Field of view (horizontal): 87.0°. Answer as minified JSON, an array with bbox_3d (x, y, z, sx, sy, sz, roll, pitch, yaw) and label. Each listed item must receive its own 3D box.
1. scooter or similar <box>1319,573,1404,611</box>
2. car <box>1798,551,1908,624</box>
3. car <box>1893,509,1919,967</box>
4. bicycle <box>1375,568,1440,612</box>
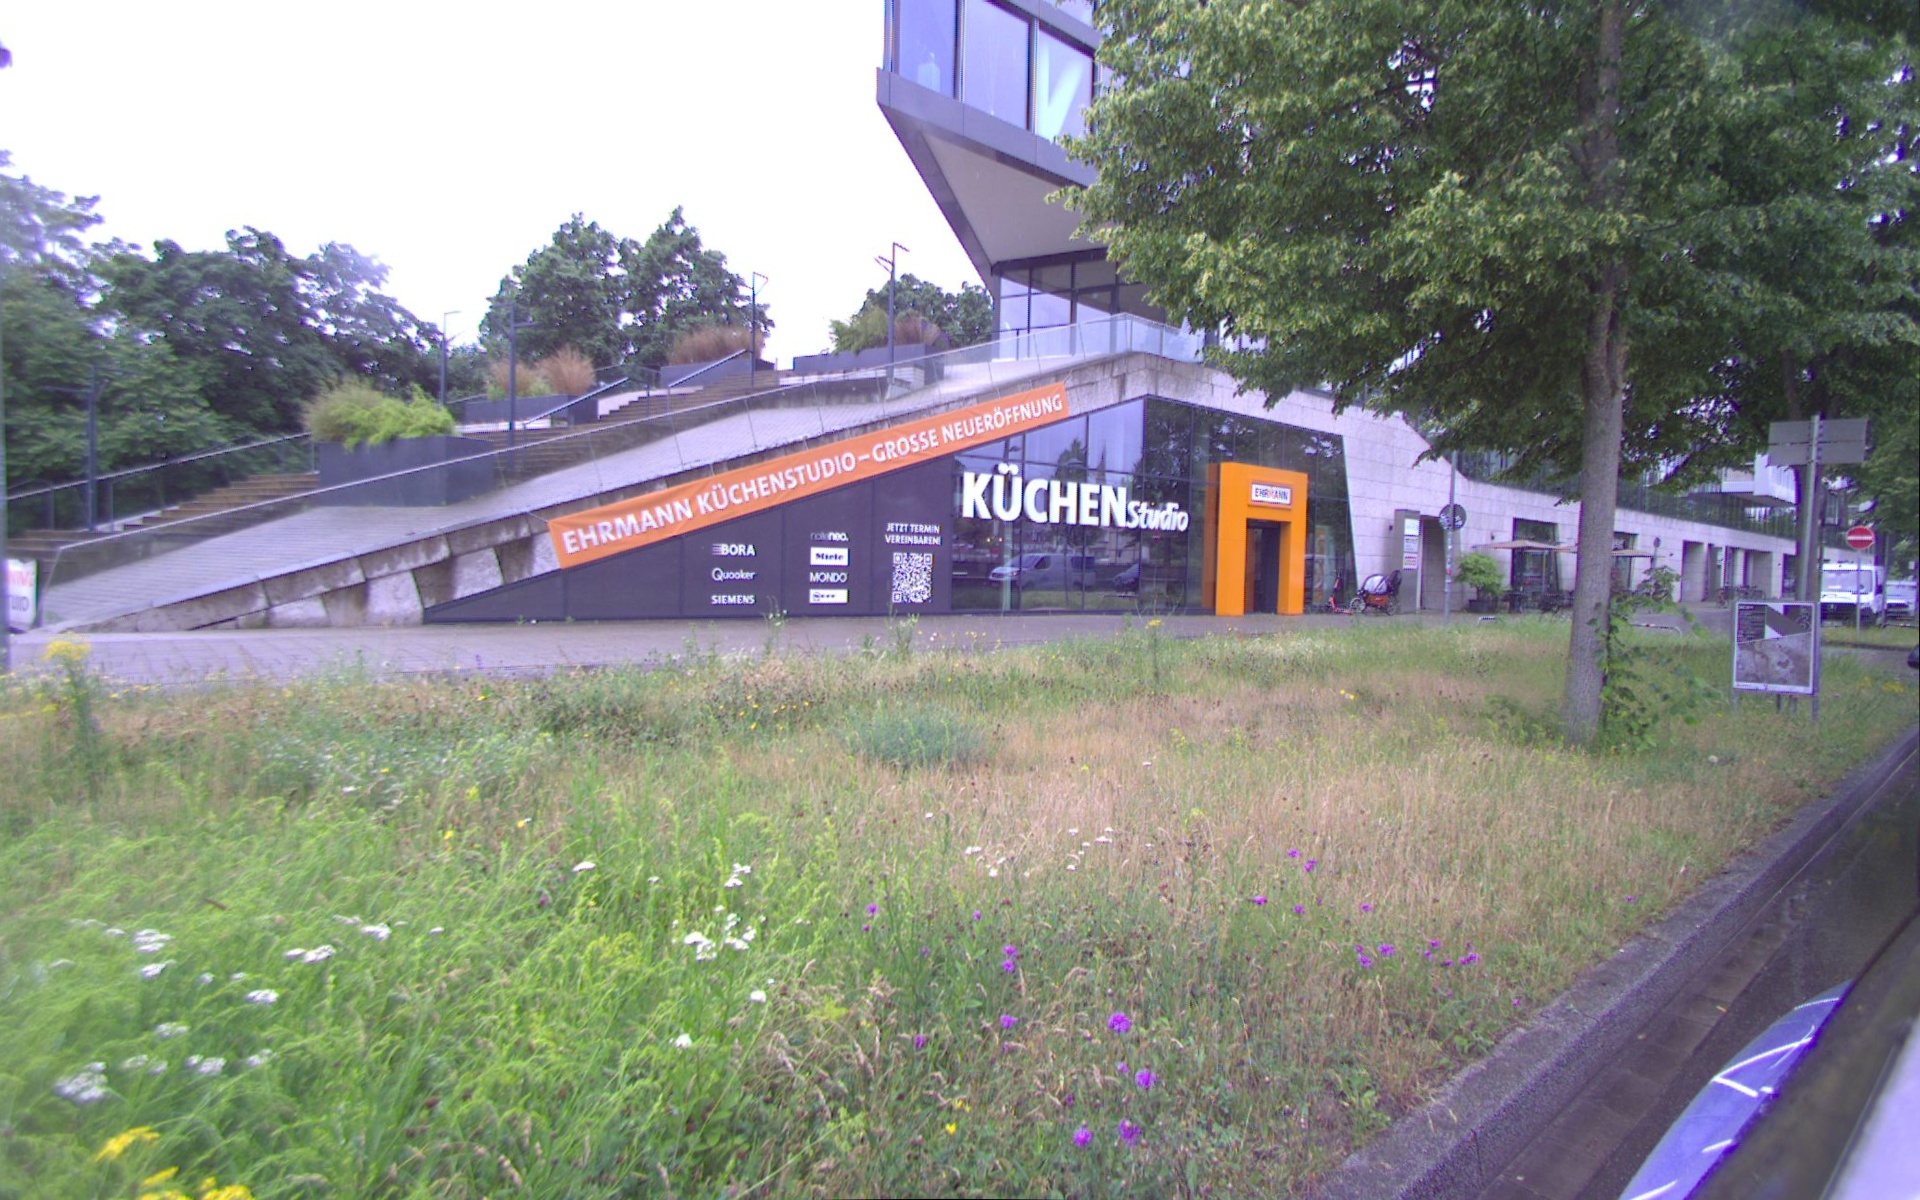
[{"bbox_3d":[12.288,-0.251,30.958,2.560,1.113,0.814,0,0,-23],"label":"scooter or similar"},{"bbox_3d":[29.597,-0.408,33.506,5.008,2.229,2.083,-1,0,-41],"label":"car"},{"bbox_3d":[5.903,0.572,4.651,4.306,1.769,1.915,1,-1,-41],"label":"car"},{"bbox_3d":[14.484,-0.339,32.705,2.650,1.364,0.882,-1,0,-41],"label":"bicycle"}]
